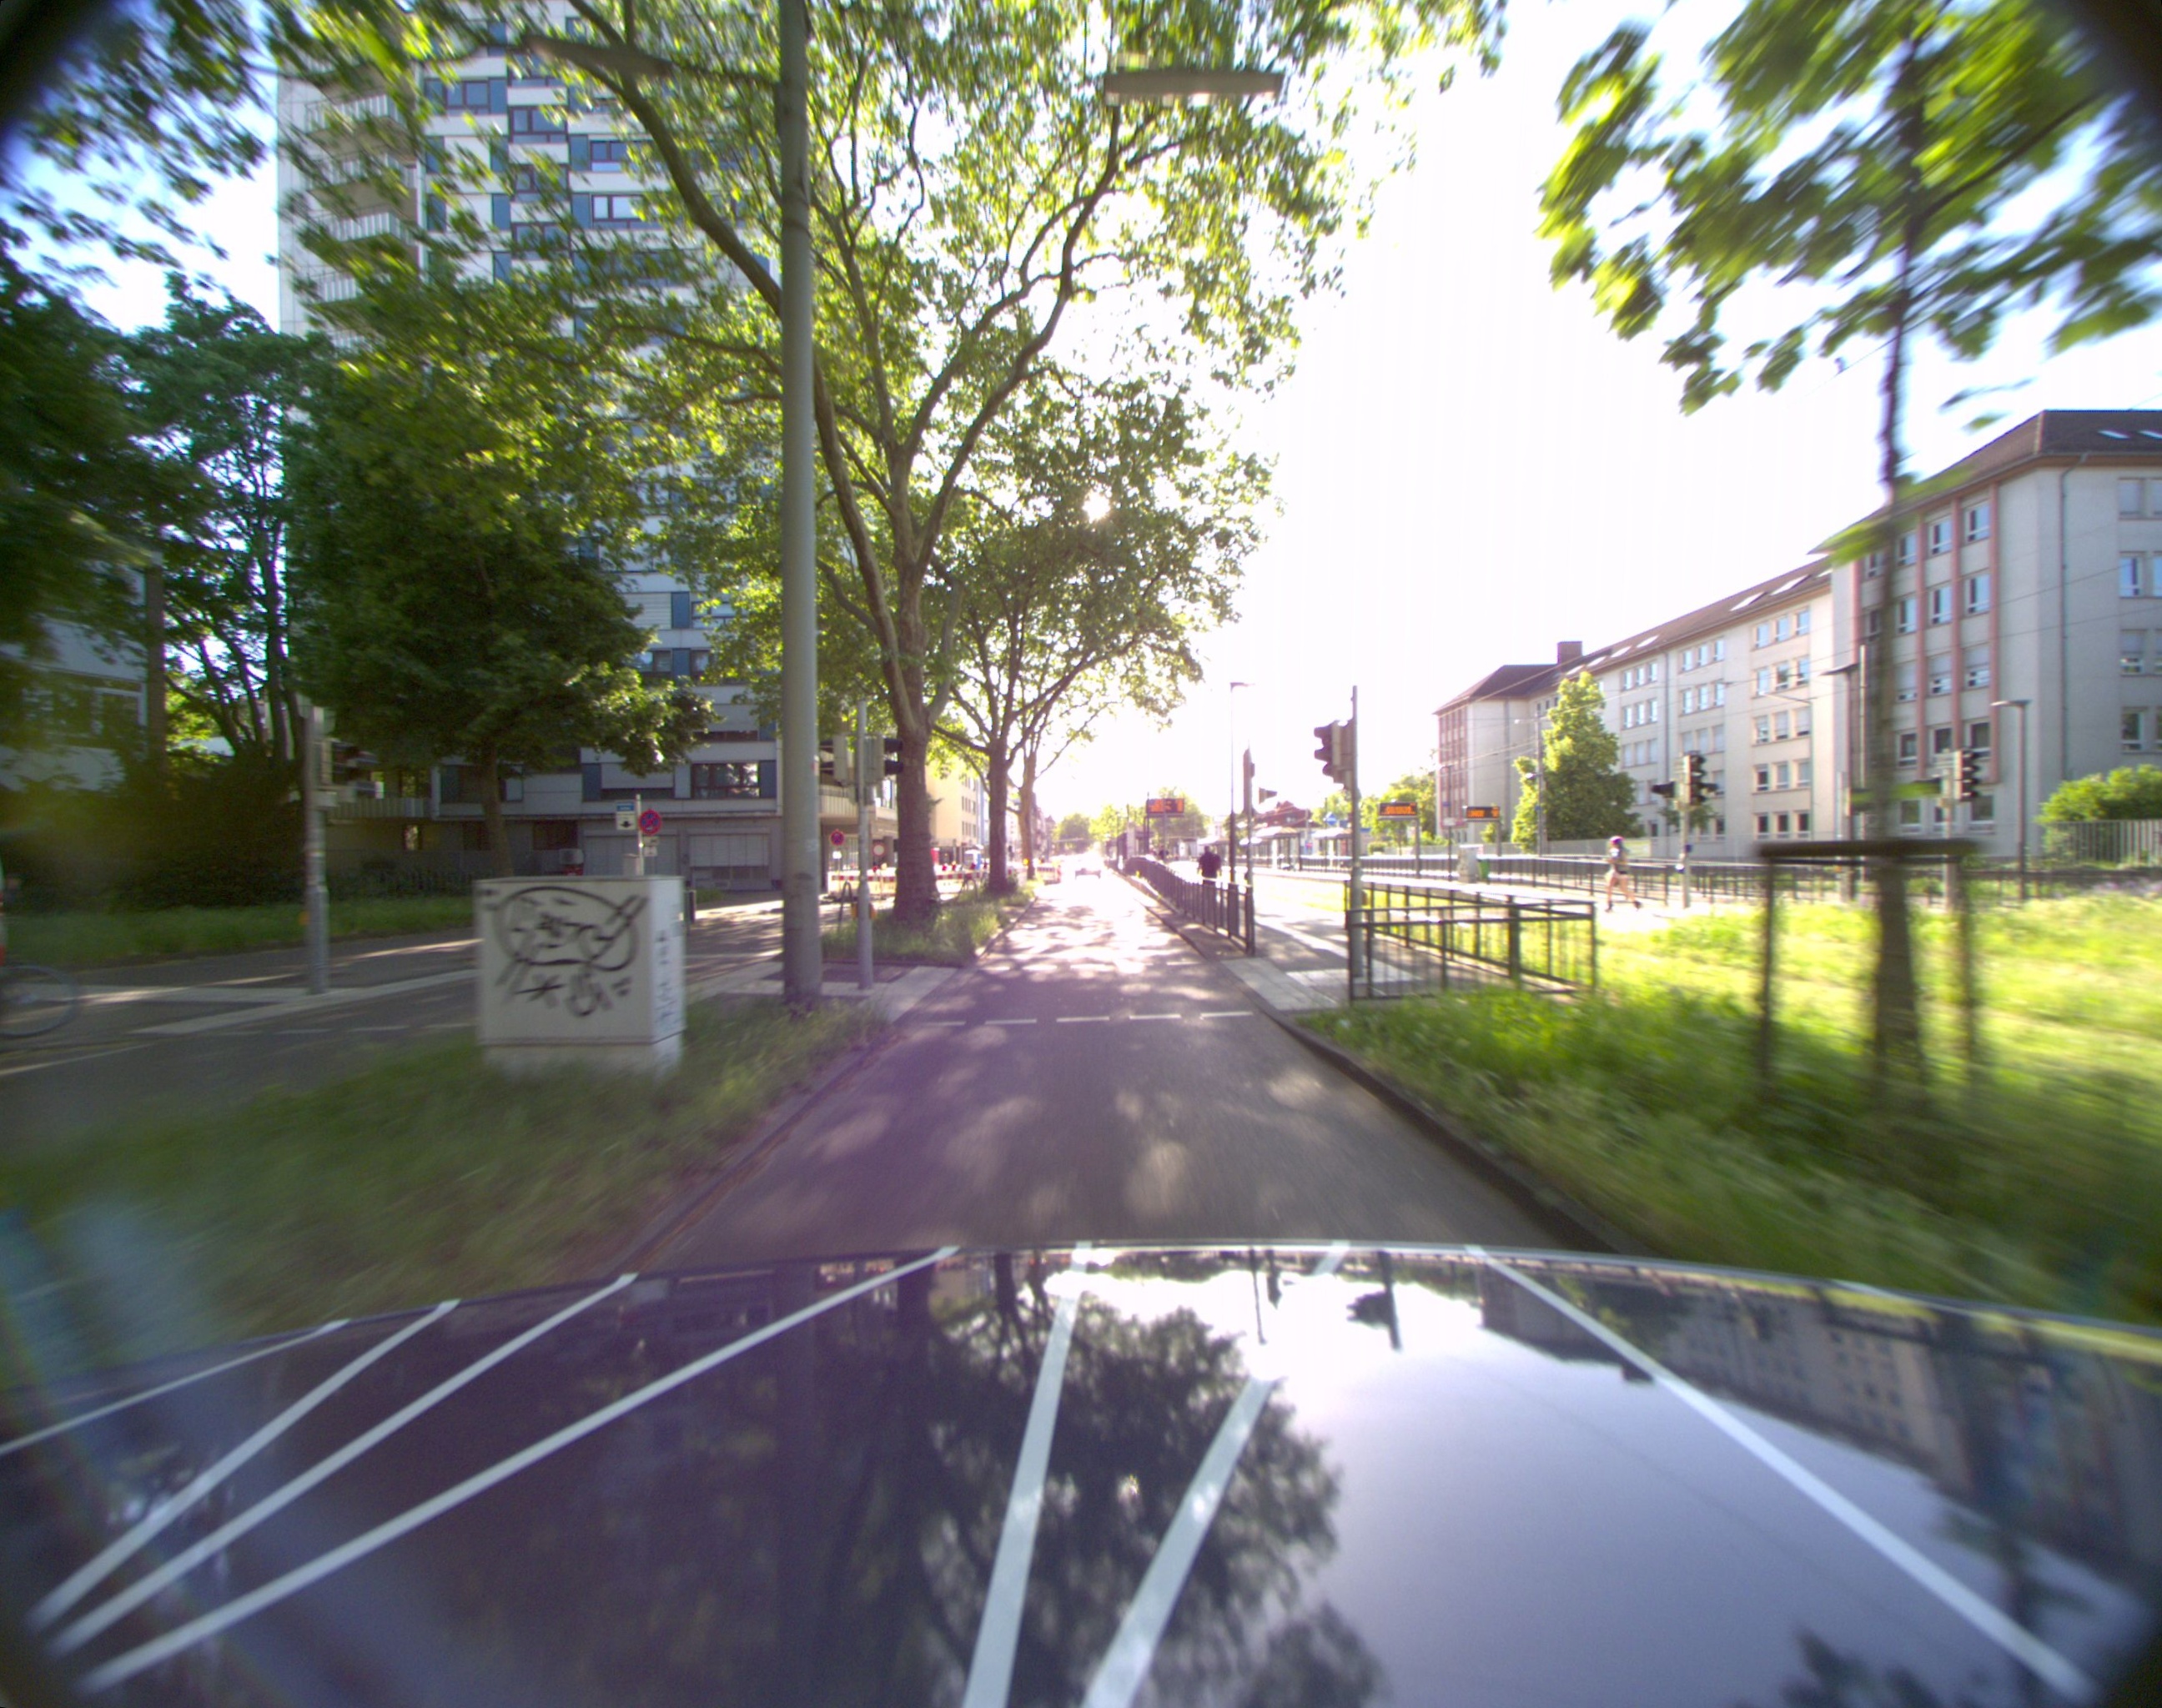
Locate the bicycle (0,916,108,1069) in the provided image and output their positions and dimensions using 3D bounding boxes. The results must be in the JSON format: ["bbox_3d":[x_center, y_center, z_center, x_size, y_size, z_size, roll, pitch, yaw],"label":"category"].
[{"bbox_3d":[-10.112,1.232,6.746,1.608,1.256,0.962,-1,0,-4],"label":"bicycle"}]

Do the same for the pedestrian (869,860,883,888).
[{"bbox_3d":[-13.685,1.322,50.693,0.691,1.804,0.665,-1,0,0],"label":"pedestrian"}]

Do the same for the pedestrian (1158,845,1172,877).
[{"bbox_3d":[4.657,0.388,42.214,0.683,1.773,0.755,-2,0,2],"label":"pedestrian"}]

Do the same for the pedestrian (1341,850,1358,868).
[{"bbox_3d":[20.741,0.366,58.722,0.977,1.368,0.879,-1,0,0],"label":"pedestrian"}]

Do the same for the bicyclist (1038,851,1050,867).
[{"bbox_3d":[-4.329,0.562,89.313,1.005,1.872,0.991,-1,0,-26],"label":"bicyclist"}]

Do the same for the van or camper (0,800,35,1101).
[{"bbox_3d":[-9.347,0.750,2.999,2.297,2.273,5.822,-1,0,0],"label":"van or camper"}]

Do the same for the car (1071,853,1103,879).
[{"bbox_3d":[0.465,0.772,52.662,1.979,1.660,4.621,-2,0,2],"label":"car"}]

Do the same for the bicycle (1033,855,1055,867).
[{"bbox_3d":[-4.353,0.794,89.321,2.382,1.349,1.021,-1,0,-26],"label":"bicycle"}]

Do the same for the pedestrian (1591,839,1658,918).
[{"bbox_3d":[12.180,0.549,17.042,0.955,1.725,0.730,-1,0,3],"label":"pedestrian"}]

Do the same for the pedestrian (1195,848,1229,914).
[{"bbox_3d":[3.396,0.698,19.749,0.714,1.670,0.772,-2,0,-1],"label":"pedestrian"}]

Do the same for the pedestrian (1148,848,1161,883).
[{"bbox_3d":[4.248,0.675,43.759,0.669,2.002,0.716,-2,0,2],"label":"pedestrian"}]

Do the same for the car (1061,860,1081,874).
[{"bbox_3d":[-1.166,1.561,90.370,1.998,1.594,4.274,-1,0,4],"label":"car"}]

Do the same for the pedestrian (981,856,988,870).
[{"bbox_3d":[-11.043,1.022,86.692,0.672,1.497,0.652,-1,0,1],"label":"pedestrian"}]
